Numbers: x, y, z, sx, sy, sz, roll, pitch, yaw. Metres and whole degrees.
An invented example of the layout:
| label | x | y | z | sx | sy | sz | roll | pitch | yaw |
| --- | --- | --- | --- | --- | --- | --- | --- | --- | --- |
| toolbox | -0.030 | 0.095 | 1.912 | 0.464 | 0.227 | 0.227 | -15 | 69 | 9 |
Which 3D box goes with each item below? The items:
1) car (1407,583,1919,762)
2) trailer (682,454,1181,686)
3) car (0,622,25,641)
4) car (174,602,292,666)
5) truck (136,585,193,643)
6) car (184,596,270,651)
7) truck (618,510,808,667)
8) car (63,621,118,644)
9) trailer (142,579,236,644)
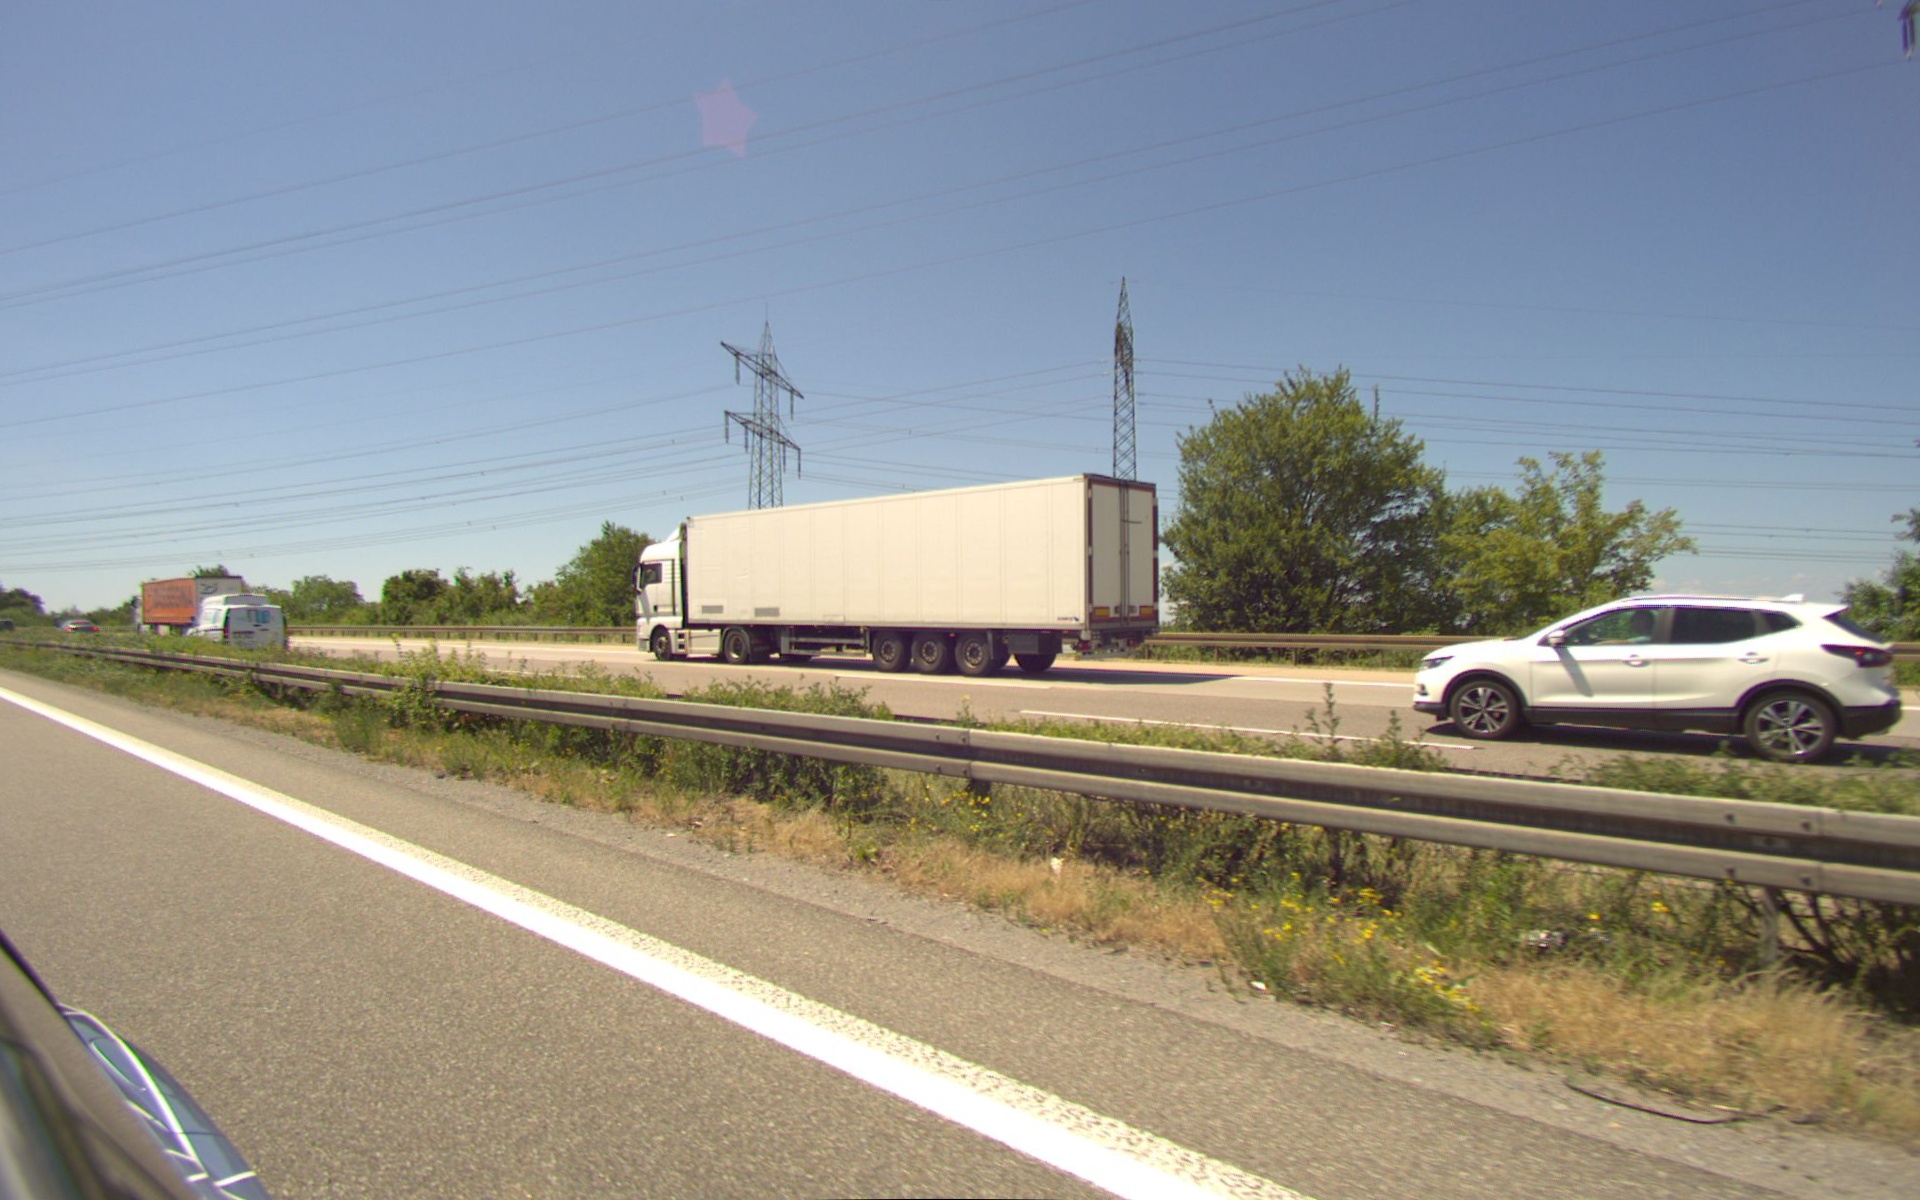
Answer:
| label | x | y | z | sx | sy | sz | roll | pitch | yaw |
| --- | --- | --- | --- | --- | --- | --- | --- | --- | --- |
| car | 7.570 | 0.664 | 10.826 | 4.724 | 1.560 | 1.973 | -1 | -1 | 41 |
| trailer | -1.537 | -0.457 | 24.224 | 13.630 | 4.290 | 2.805 | -1 | -1 | 41 |
| car | -89.764 | 2.952 | 95.183 | 4.925 | 1.686 | 1.974 | -1 | -1 | 39 |
| car | -24.411 | 1.153 | 33.892 | 5.333 | 1.954 | 1.973 | -3 | -1 | 40 |
| truck | -57.459 | 1.018 | 73.106 | 4.600 | 4.049 | 2.456 | -2 | -1 | 42 |
| car | -35.731 | 1.116 | 49.250 | 6.487 | 2.489 | 1.973 | -1 | 0 | 41 |
| truck | -7.165 | -0.248 | 29.126 | 5.163 | 4.112 | 2.801 | -2 | -1 | 41 |
| car | -55.299 | 2.090 | 64.318 | 4.769 | 1.337 | 1.973 | -3 | -1 | 41 |
| trailer | -52.424 | 0.832 | 68.590 | 13.580 | 4.073 | 2.480 | -1 | -1 | 42 |
